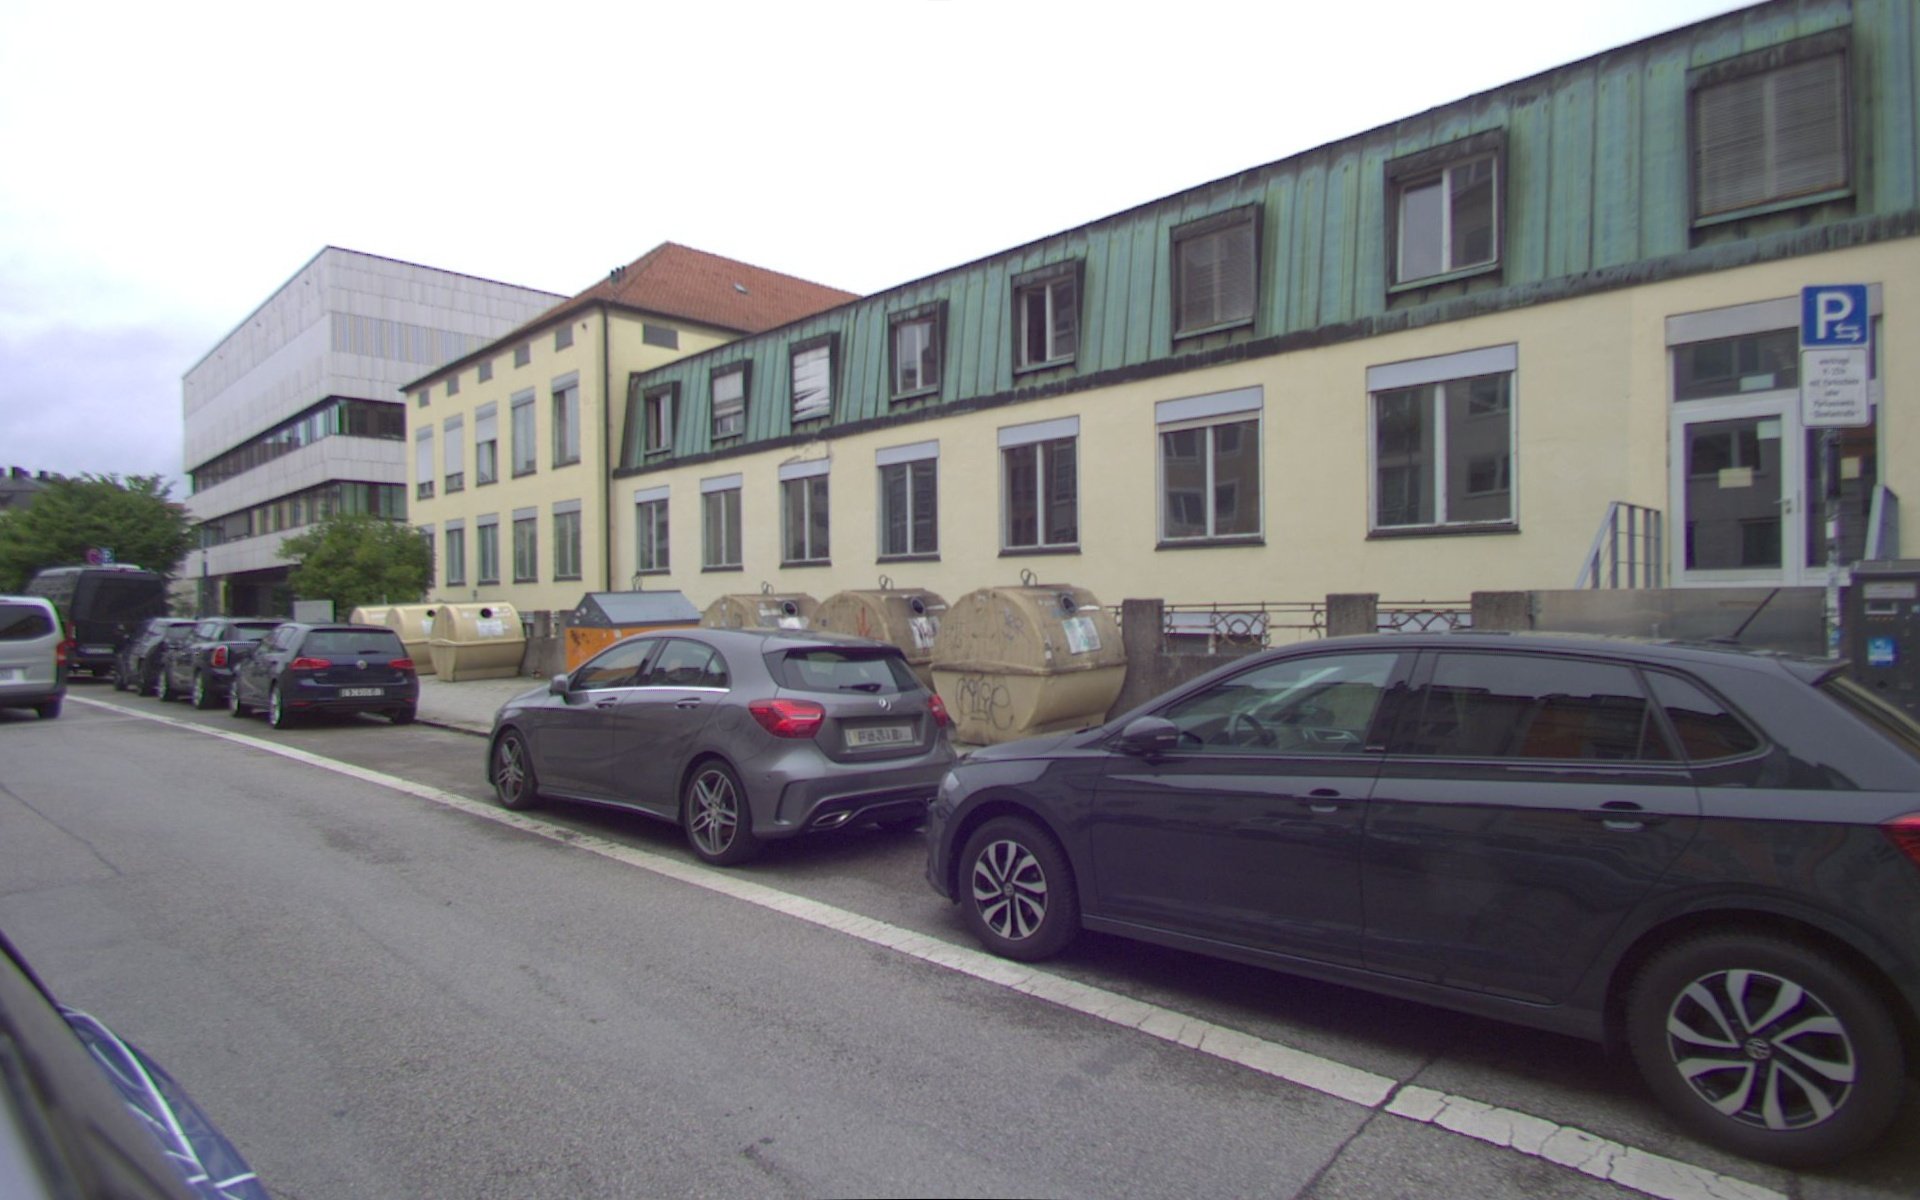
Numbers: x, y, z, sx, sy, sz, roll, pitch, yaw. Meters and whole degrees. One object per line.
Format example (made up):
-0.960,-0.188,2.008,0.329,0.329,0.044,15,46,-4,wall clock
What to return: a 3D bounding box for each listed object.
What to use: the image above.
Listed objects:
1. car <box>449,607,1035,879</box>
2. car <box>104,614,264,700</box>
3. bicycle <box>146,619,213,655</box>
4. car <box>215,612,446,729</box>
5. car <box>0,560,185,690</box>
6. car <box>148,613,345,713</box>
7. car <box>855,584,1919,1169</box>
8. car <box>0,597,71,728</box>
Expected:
-1.870,0.798,7.665,4.614,1.429,1.993,0,-2,42,car
-16.477,1.150,21.416,4.347,1.649,1.860,-1,-3,42,car
-27.424,1.273,35.590,0.519,1.160,1.792,-1,1,41,bicycle
-9.574,0.972,15.234,4.533,1.493,1.892,-2,-3,44,car
-21.821,0.618,25.266,6.184,2.875,2.193,-1,-2,36,car
-13.078,1.116,18.456,4.349,1.599,1.894,-2,-4,41,car
1.715,0.711,4.121,4.351,1.416,1.732,-1,-2,40,car
-15.778,0.929,15.840,5.314,1.862,1.897,-1,-1,38,car
